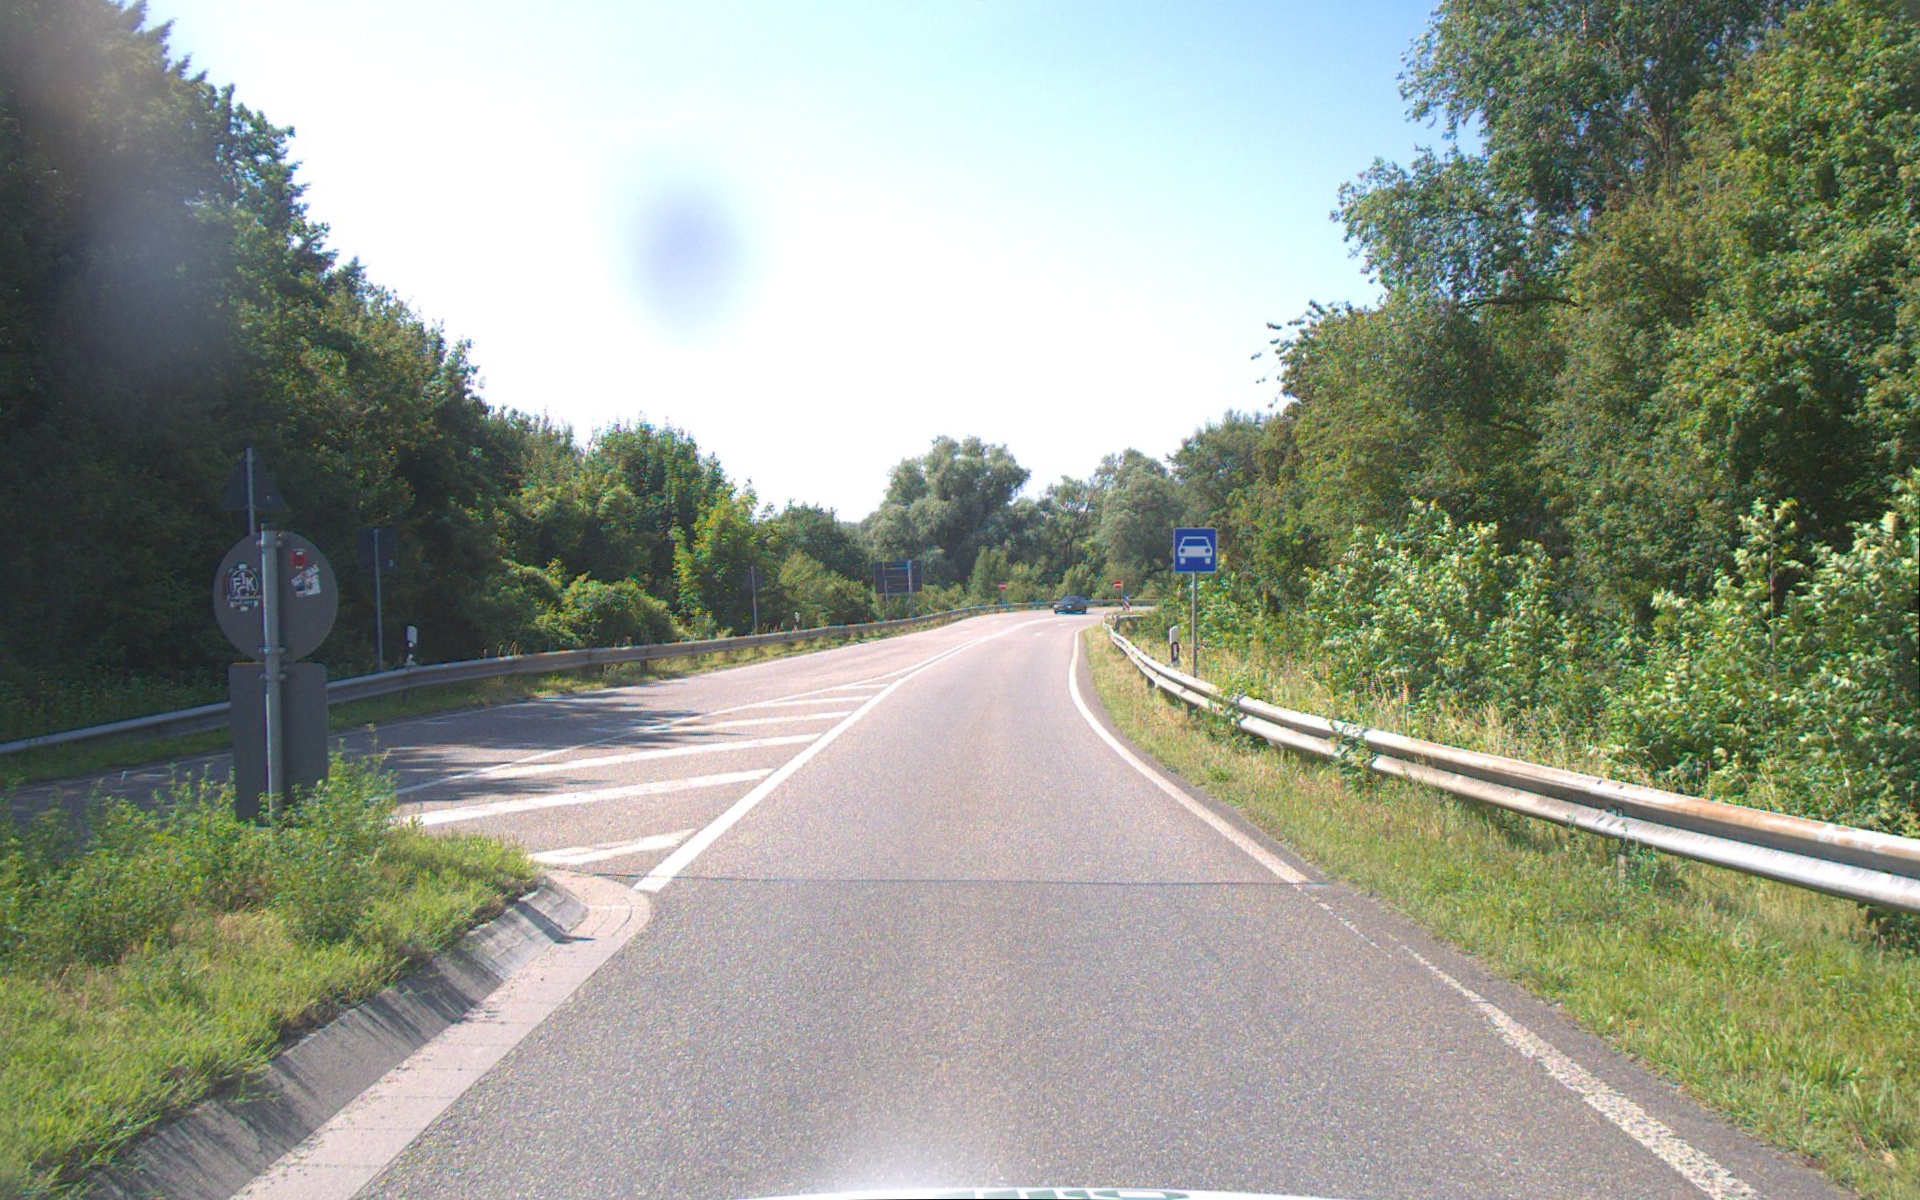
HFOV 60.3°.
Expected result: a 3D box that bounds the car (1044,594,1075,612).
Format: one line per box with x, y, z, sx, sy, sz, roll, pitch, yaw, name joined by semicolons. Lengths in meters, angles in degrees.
8.499;0.291;140.700;1.574;1.499;4.221;0;0;18;car
